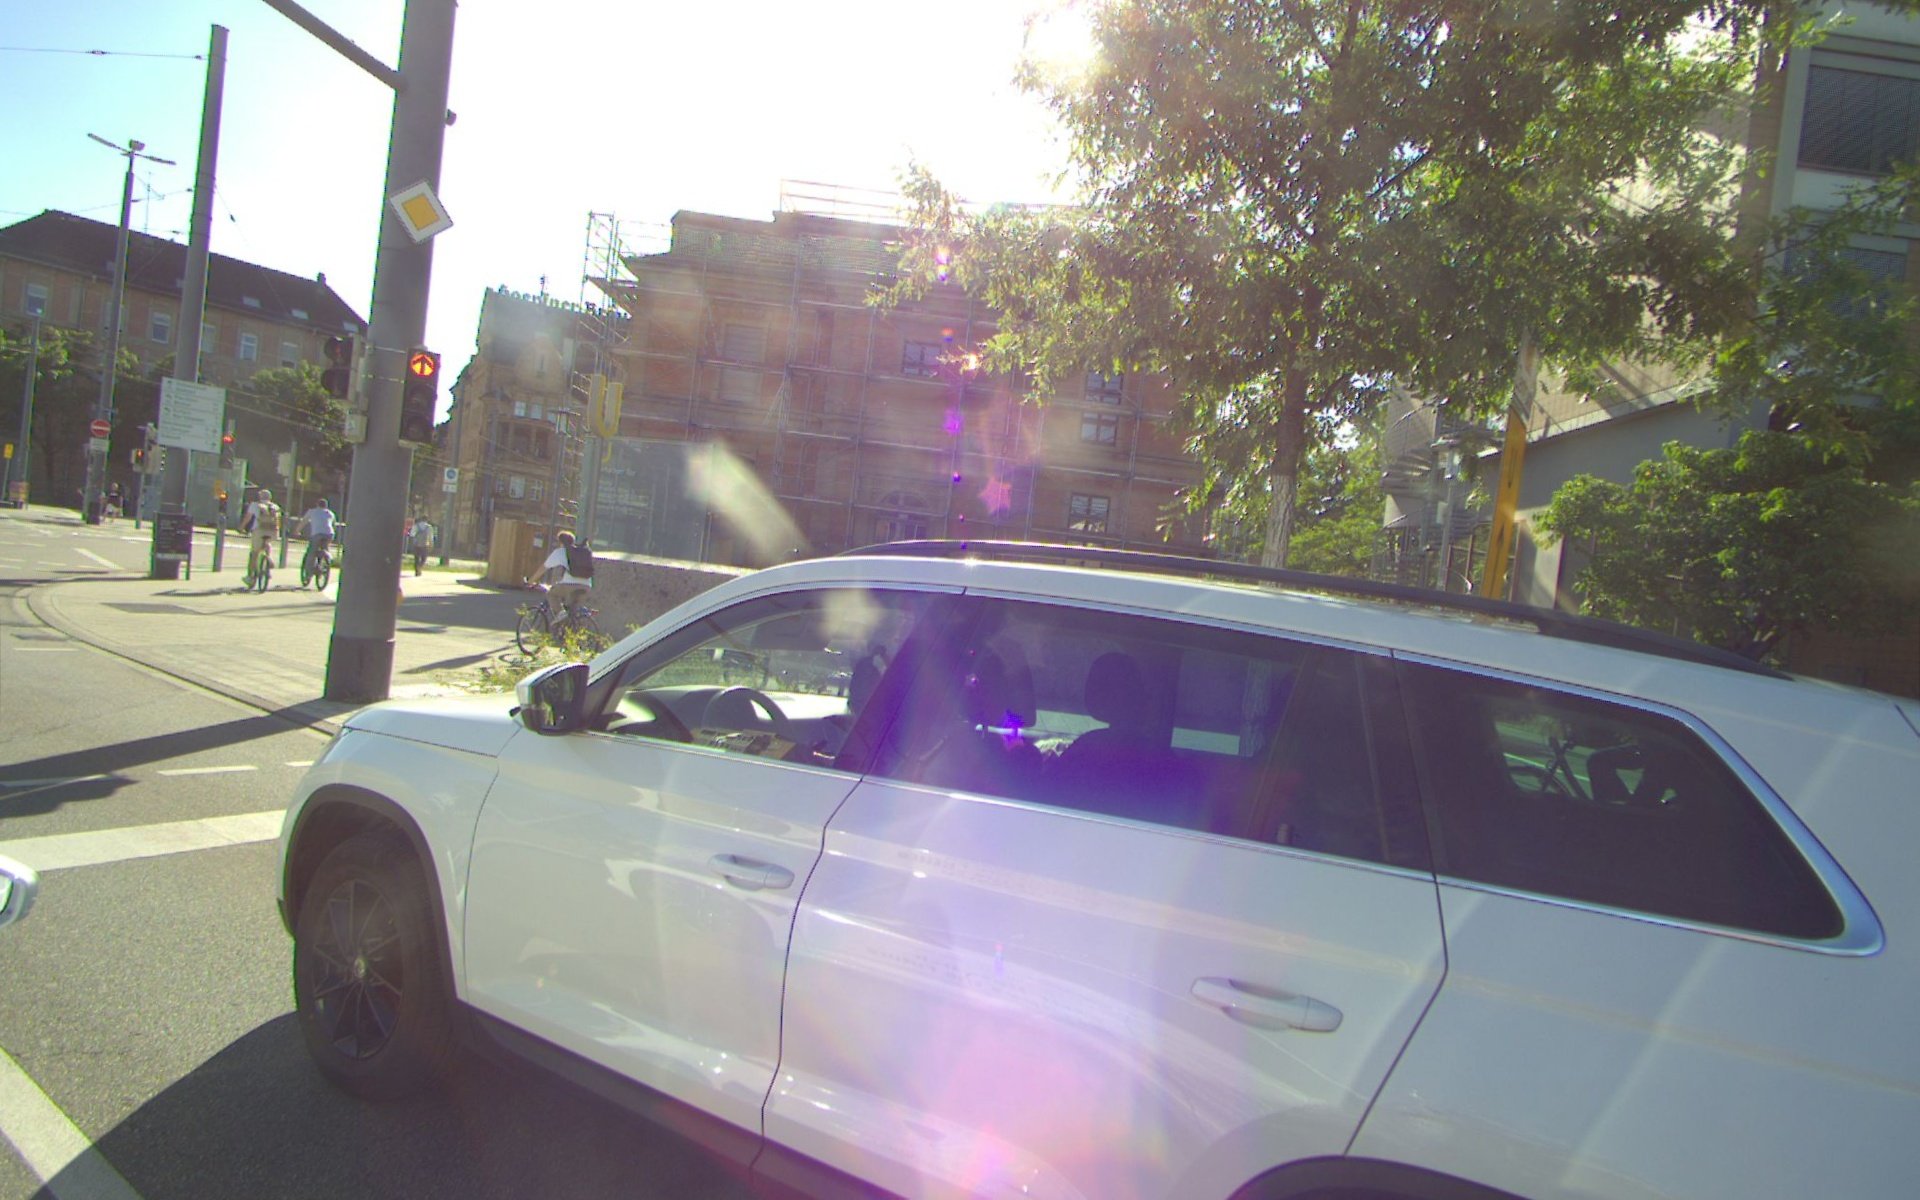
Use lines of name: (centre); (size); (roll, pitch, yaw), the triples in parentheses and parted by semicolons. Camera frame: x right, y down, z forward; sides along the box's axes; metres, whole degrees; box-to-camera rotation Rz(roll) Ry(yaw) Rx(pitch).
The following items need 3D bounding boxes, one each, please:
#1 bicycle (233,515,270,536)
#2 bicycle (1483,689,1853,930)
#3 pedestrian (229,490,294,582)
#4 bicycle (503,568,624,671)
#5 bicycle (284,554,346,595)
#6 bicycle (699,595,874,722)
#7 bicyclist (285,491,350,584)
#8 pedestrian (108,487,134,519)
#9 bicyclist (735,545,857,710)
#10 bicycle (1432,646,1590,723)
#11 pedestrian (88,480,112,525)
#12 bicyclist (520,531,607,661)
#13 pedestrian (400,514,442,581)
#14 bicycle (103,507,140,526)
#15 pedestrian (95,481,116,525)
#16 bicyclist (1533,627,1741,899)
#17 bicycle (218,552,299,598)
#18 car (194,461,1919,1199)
bicycle: (-46.038, -4.834, 65.395); (0.539, 1.134, 2.020); (7, 0, 12)
bicycle: (4.689, 1.327, 6.830); (1.852, 1.178, 0.686); (7, 1, 33)
pedestrian: (-12.937, -1.184, 18.629); (0.843, 1.582, 0.549); (7, 1, 29)
bicycle: (-5.192, 0.228, 13.130); (1.713, 1.141, 0.571); (7, 4, 35)
bicycle: (-13.270, -0.531, 20.683); (1.445, 0.664, 0.536); (7, 2, 36)
bicycle: (-1.937, 0.621, 11.121); (1.819, 1.128, 0.626); (7, 1, 29)
bicyclist: (-13.257, -1.288, 20.756); (0.909, 1.802, 0.746); (8, 2, 36)
pedestrian: (-47.872, -5.515, 57.419); (0.746, 1.652, 0.716); (7, 1, -12)
bicyclist: (-1.800, 0.296, 11.060); (0.978, 1.658, 0.626); (7, 1, 29)
bicycle: (13.097, 1.990, 24.004); (3.079, 1.395, 0.798); (7, 1, 8)
pedestrian: (-41.097, -4.657, 48.078); (0.443, 2.039, 0.574); (7, 1, 14)
bicyclist: (-5.174, -0.060, 13.121); (0.932, 1.590, 0.571); (7, 4, 35)
pedestrian: (-16.417, -1.593, 30.649); (0.887, 1.883, 0.922); (6, 1, -23)
bicycle: (-47.997, -4.753, 57.595); (0.733, 0.881, 1.926); (7, 0, -13)
pedestrian: (-41.401, -4.677, 48.758); (0.443, 2.039, 0.462); (7, 2, 14)
bicyclist: (4.604, 1.067, 6.904); (0.961, 1.618, 0.686); (7, 1, 33)
bicycle: (-13.048, -0.468, 18.705); (1.696, 0.664, 0.537); (7, 3, 30)
car: (0.009, 0.690, 2.683); (4.224, 1.662, 1.697); (7, 0, 30)
